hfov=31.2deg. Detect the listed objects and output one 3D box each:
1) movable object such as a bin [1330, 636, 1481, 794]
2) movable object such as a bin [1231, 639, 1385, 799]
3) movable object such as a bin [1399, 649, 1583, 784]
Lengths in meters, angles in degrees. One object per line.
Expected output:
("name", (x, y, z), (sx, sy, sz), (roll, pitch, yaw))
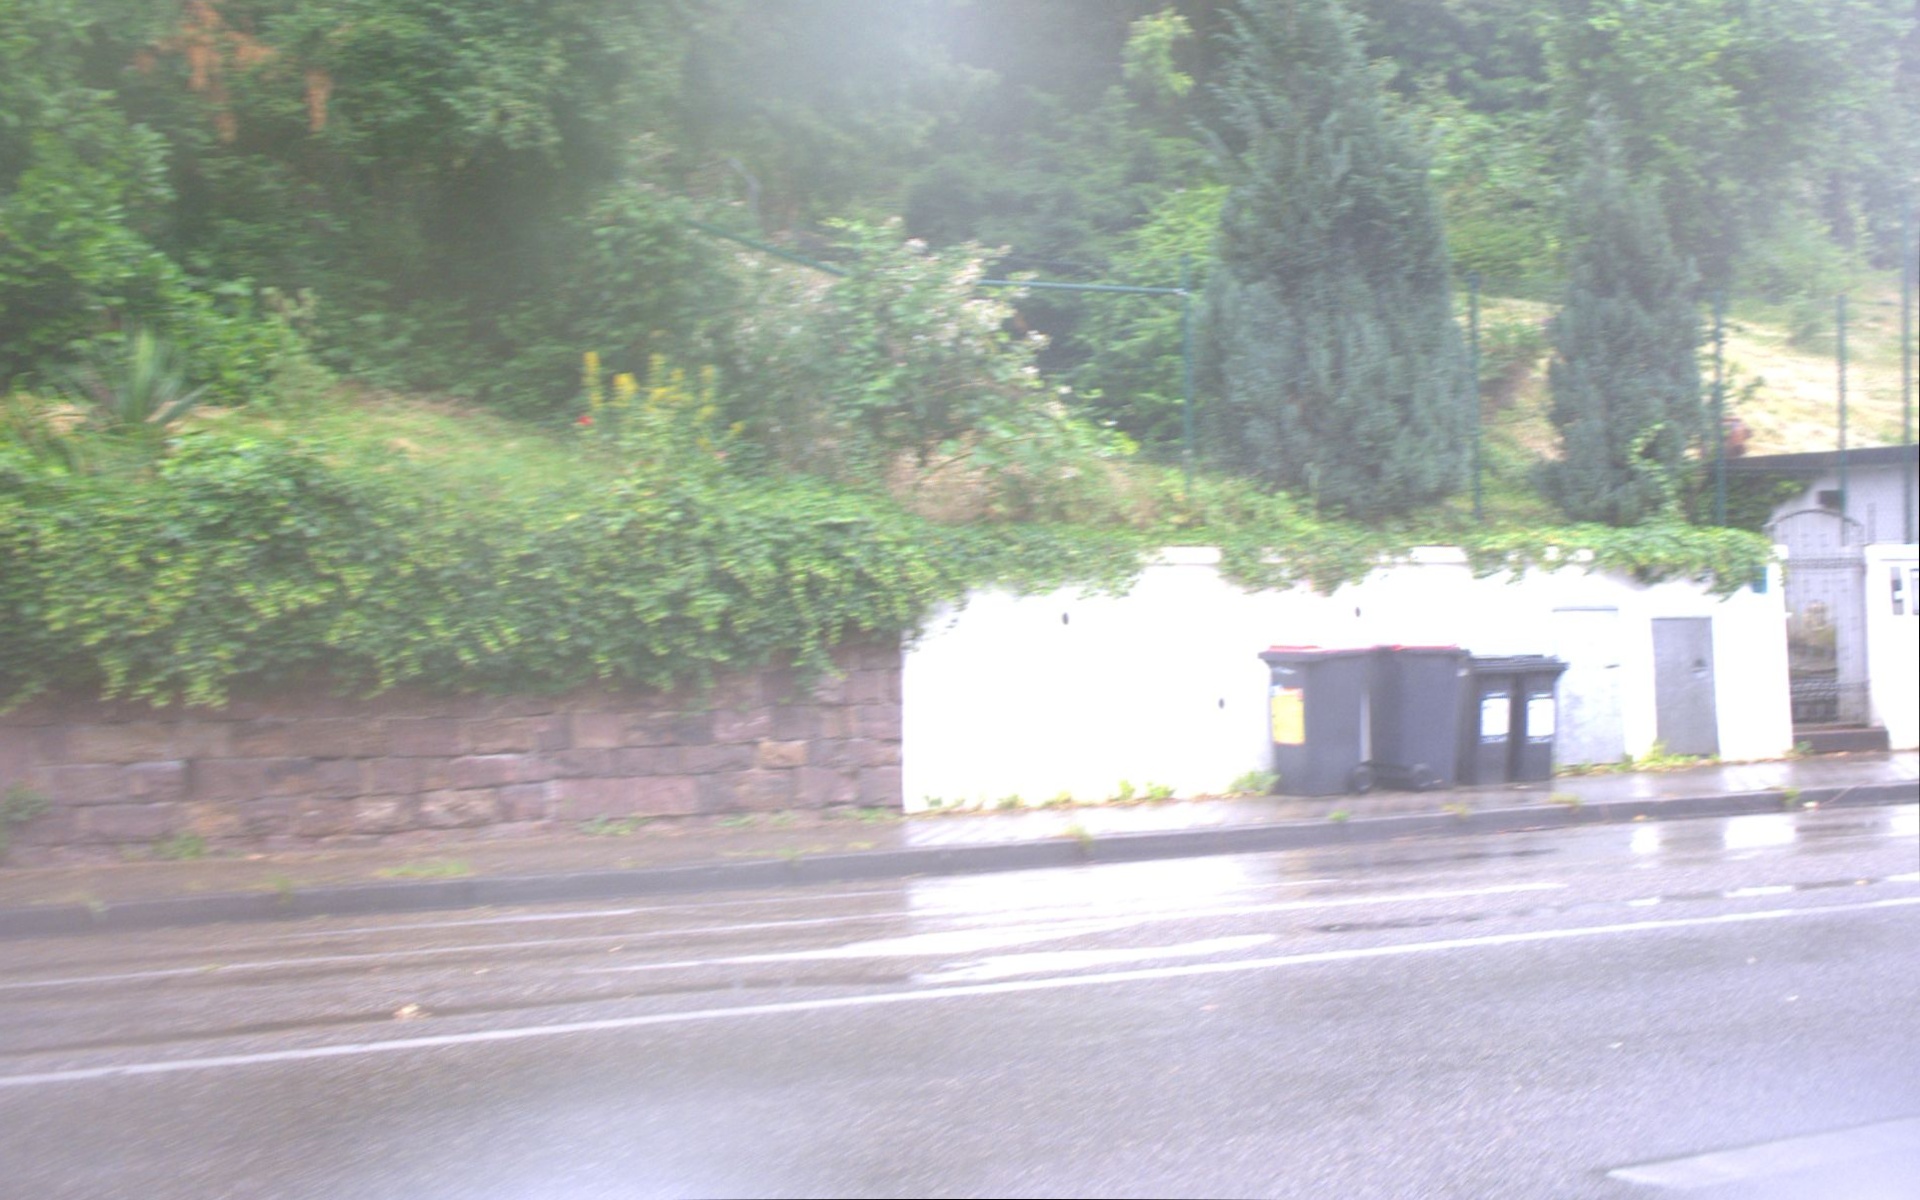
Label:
("movable object such as a bin", (3.107, 0.795, 23.964), (0.791, 1.057, 0.636), (-1, -1, -36))
("movable object such as a bin", (2.387, 0.811, 23.600), (0.751, 1.057, 0.688), (-1, -1, -36))
("movable object such as a bin", (3.816, 0.835, 24.728), (0.951, 0.913, 0.852), (-2, 0, -37))
